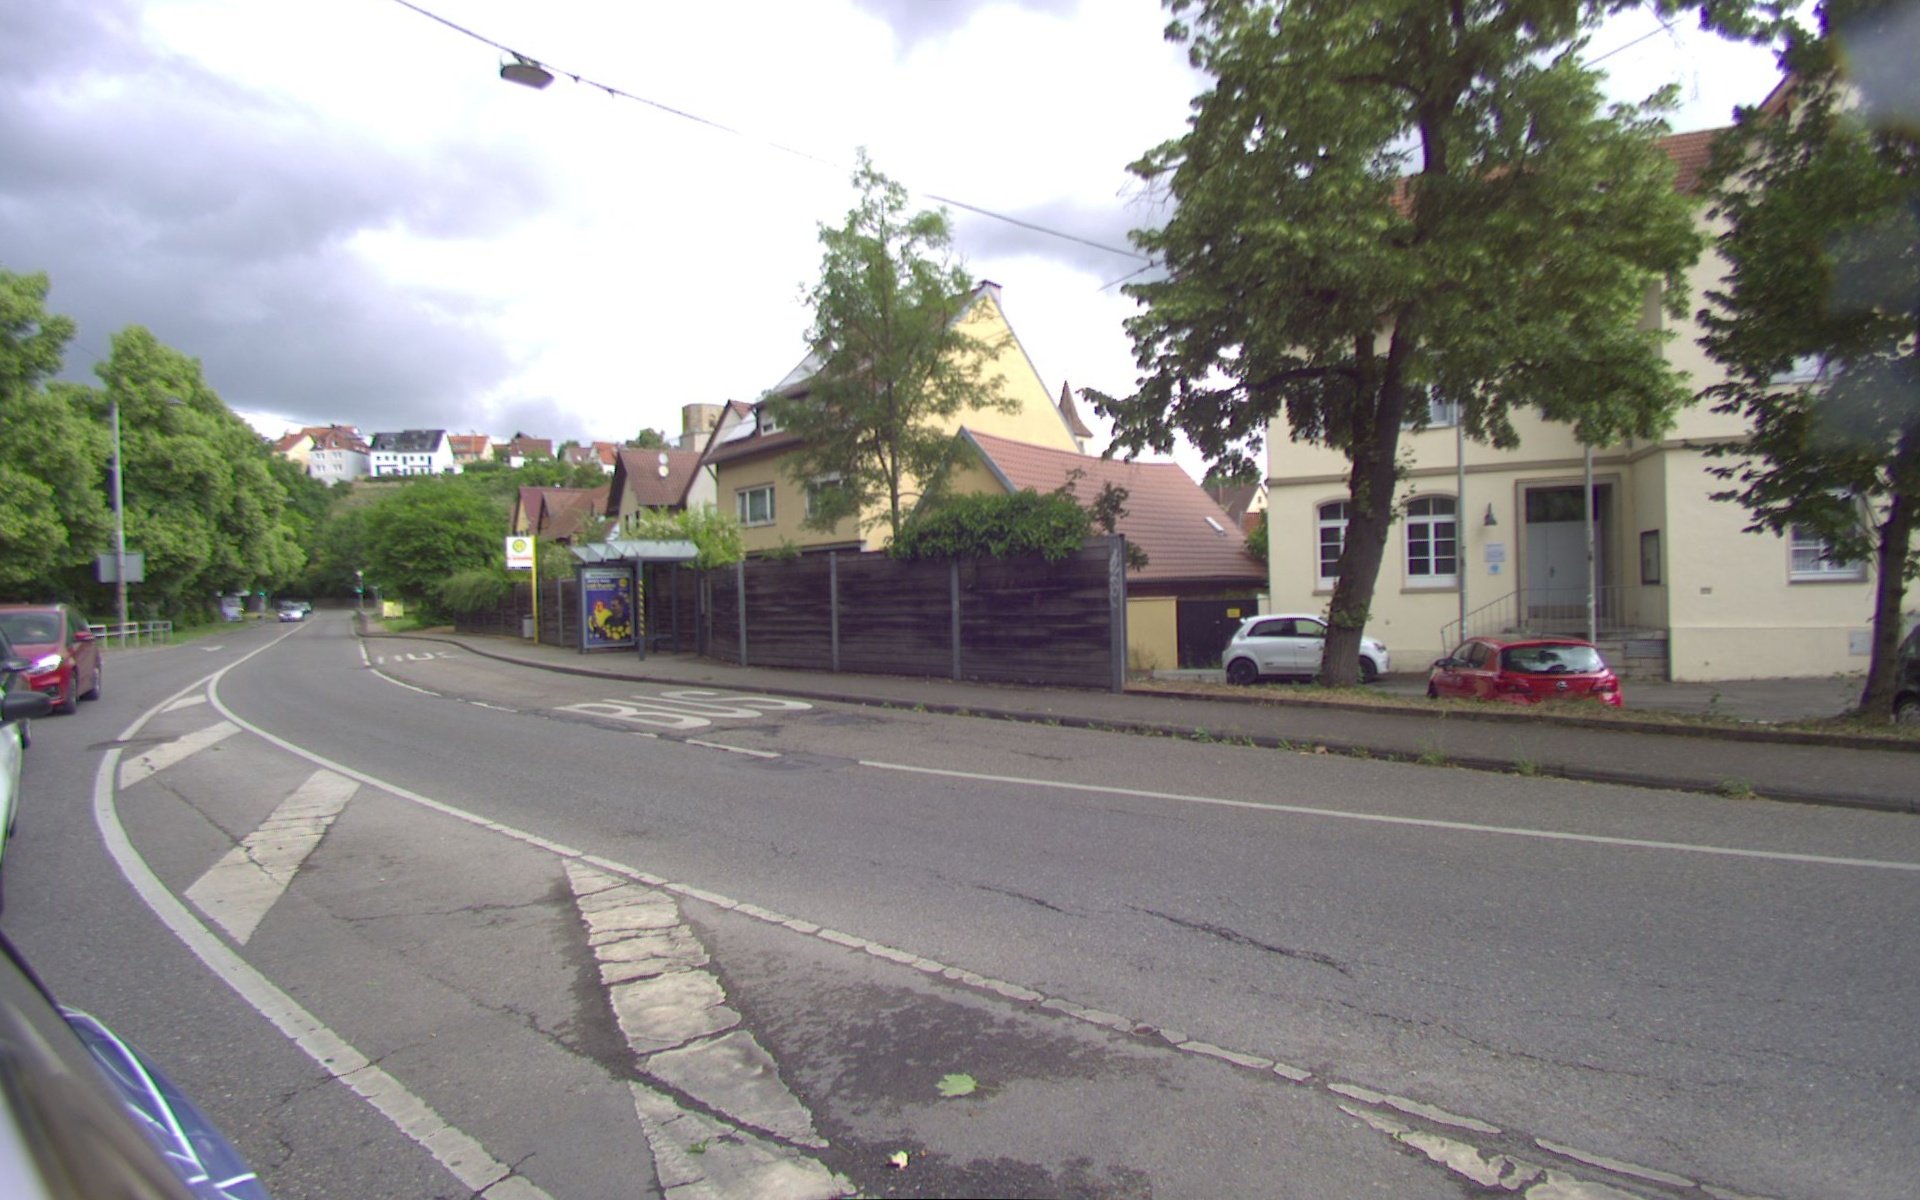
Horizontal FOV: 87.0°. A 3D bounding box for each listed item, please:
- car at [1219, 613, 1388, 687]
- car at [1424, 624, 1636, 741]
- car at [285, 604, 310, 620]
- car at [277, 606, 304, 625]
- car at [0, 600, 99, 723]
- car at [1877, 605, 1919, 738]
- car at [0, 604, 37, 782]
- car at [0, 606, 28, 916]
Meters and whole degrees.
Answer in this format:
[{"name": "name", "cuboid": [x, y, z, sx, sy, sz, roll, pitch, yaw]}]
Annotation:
[{"name": "car", "cuboid": [7.737, 1.105, 22.927, 3.487, 1.528, 1.581, -1, 0, 20]}, {"name": "car", "cuboid": [8.117, 1.102, 14.771, 1.590, 1.389, 3.544, -1, 0, 10]}, {"name": "car", "cuboid": [-78.190, 1.412, 119.457, 1.883, 1.768, 4.006, -2, 1, -41]}, {"name": "car", "cuboid": [-60.197, 1.378, 90.965, 1.817, 1.652, 4.009, -1, 0, -37]}, {"name": "car", "cuboid": [-14.519, 0.873, 15.440, 1.800, 1.685, 4.067, -1, 0, -37]}, {"name": "car", "cuboid": [12.690, 0.887, 11.588, 1.586, 1.644, 3.093, -1, 0, 2]}, {"name": "car", "cuboid": [-10.234, 0.848, 9.857, 1.699, 1.559, 3.787, -1, 0, -41]}, {"name": "car", "cuboid": [-6.040, 0.812, 5.278, 1.594, 1.525, 3.610, -1, 0, -41]}]
